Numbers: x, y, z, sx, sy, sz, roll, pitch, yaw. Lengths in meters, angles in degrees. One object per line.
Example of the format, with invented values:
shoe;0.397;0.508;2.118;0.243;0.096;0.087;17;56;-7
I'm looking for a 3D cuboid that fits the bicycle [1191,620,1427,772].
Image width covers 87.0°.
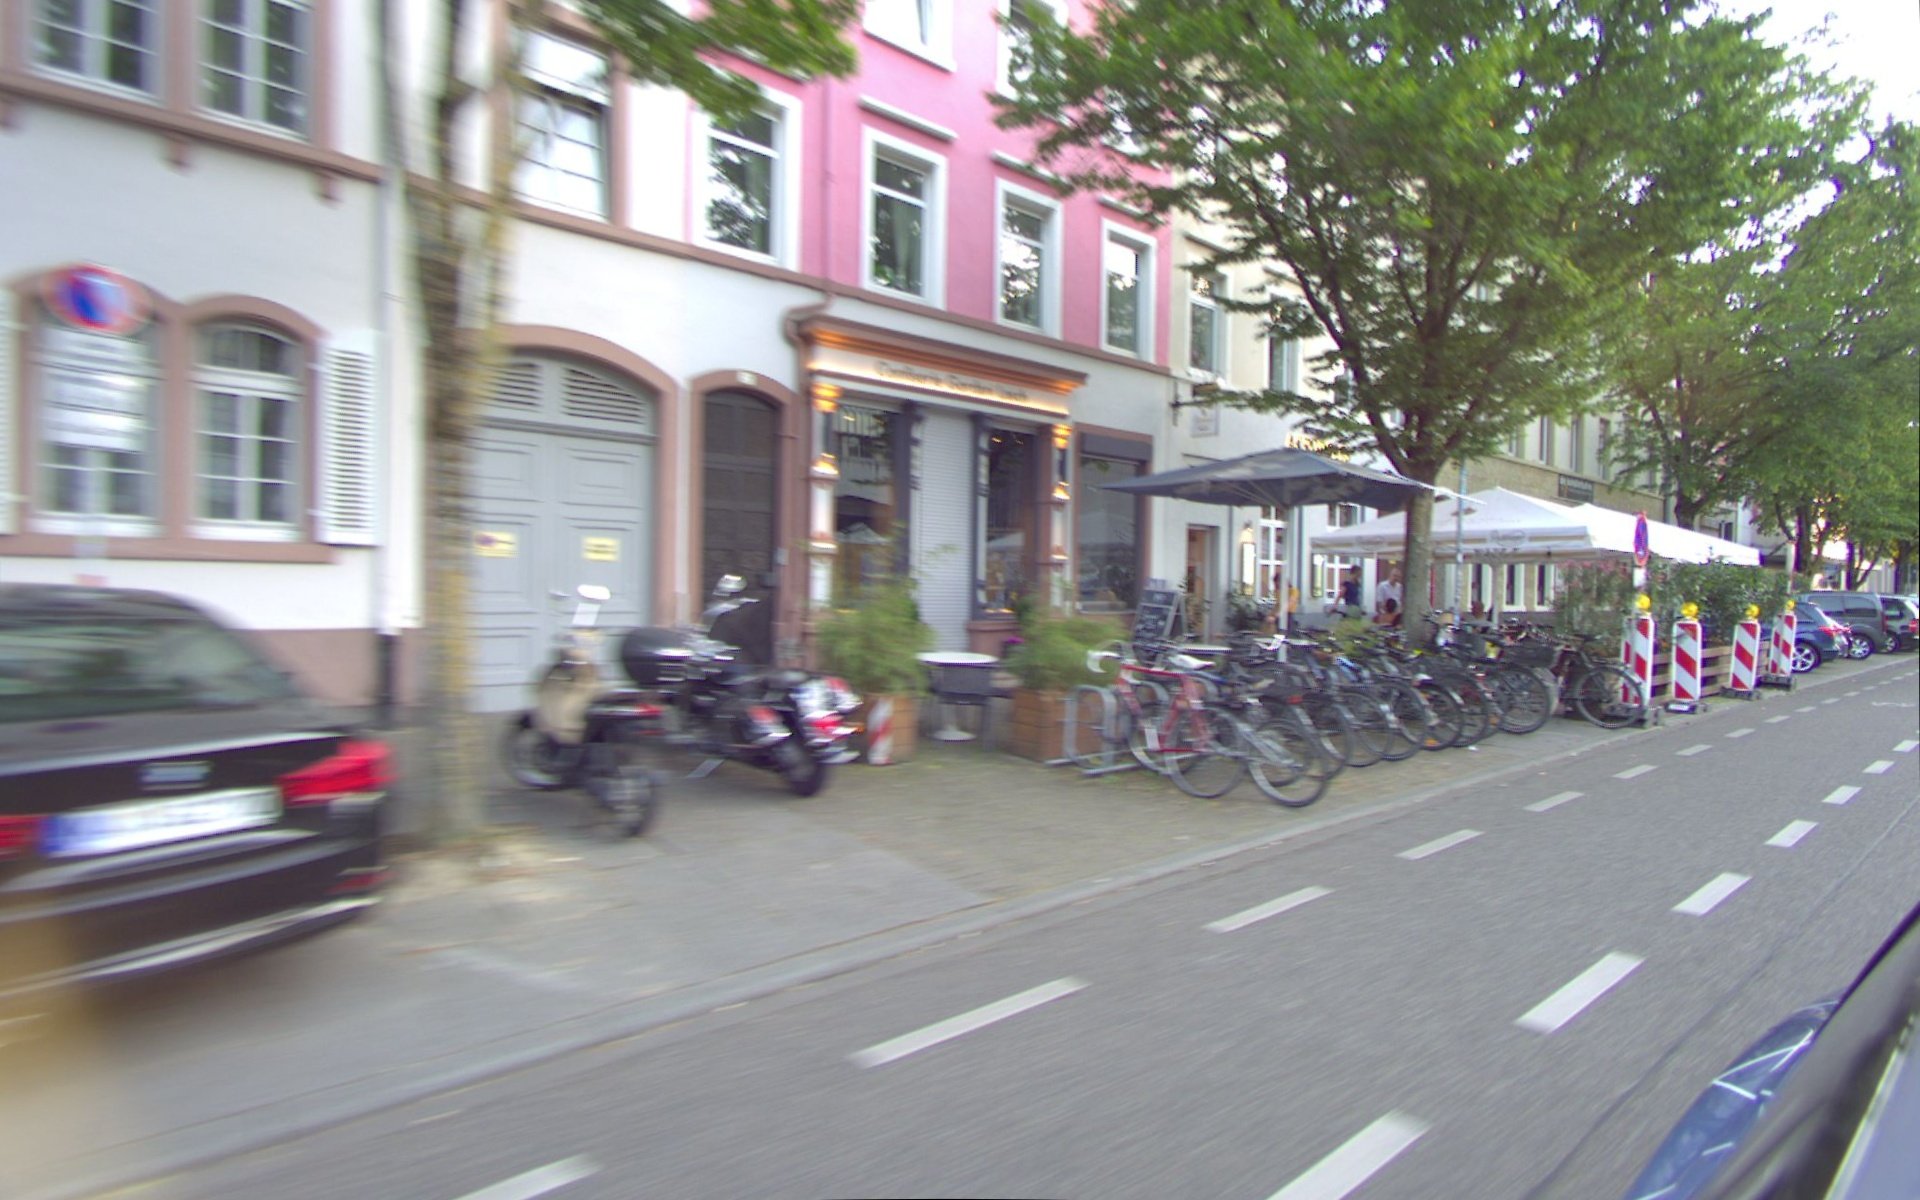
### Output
bicycle;3.046;0.790;9.005;0.598;1.044;1.890;0;4;-42

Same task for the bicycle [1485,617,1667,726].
bicycle;7.158;0.790;11.823;0.547;1.044;1.682;0;4;-42

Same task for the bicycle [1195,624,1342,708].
bicycle;3.713;0.772;12.312;0.320;0.883;1.818;0;1;-41

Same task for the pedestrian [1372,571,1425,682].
pedestrian;7.240;0.419;16.709;0.702;1.785;0.552;0;0;-40

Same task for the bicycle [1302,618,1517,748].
bicycle;4.558;0.795;10.382;0.598;1.044;1.890;0;4;-42

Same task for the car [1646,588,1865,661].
car;18.572;0.517;23.868;3.751;1.425;1.689;3;2;29

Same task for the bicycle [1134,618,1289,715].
bicycle;2.836;0.724;11.579;0.320;0.883;1.819;0;4;-42

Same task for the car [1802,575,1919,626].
car;37.422;0.023;40.827;4.943;1.849;2.183;3;2;32

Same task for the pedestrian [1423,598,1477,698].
pedestrian;6.610;0.626;13.653;0.502;1.308;0.590;0;0;45

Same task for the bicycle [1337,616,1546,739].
bicycle;5.113;0.774;10.853;0.598;1.044;1.890;0;4;-42

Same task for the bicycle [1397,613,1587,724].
bicycle;6.136;0.746;11.763;0.598;1.044;1.819;0;4;-42

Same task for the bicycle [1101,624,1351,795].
bicycle;2.060;0.800;8.066;0.581;1.044;1.866;0;4;-42

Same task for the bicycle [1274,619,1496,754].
bicycle;4.117;0.790;9.938;0.598;1.044;1.890;0;4;-42

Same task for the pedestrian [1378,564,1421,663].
pedestrian;8.099;0.244;18.665;0.696;1.785;0.710;0;0;22

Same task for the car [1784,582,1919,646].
car;27.967;0.427;30.487;4.652;1.708;1.975;5;3;45

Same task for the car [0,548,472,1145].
car;-4.070;0.579;4.100;4.143;1.444;1.803;5;3;31

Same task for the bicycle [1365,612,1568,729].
bicycle;5.607;0.737;11.301;0.598;1.044;1.890;0;4;-42

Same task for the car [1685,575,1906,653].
car;22.484;0.325;27.461;4.112;1.828;1.994;3;2;22

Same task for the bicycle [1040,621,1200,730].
bicycle;1.615;0.743;10.513;0.320;0.883;1.819;0;4;-42

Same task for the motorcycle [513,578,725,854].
motorcycle;-2.095;0.582;6.051;0.524;1.360;1.789;0;3;-42

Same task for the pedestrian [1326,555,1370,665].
pedestrian;6.541;0.161;17.040;0.548;1.785;0.843;0;0;32

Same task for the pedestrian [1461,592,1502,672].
pedestrian;8.838;0.524;17.164;0.546;1.322;0.710;0;0;22

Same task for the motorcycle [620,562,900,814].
motorcycle;-1.514;0.503;7.292;0.951;1.479;2.226;0;3;-42

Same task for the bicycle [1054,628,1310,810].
bicycle;1.615;0.824;7.684;0.524;1.044;1.907;0;4;-42

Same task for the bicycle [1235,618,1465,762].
bicycle;3.568;0.774;9.413;0.598;1.044;1.890;0;4;-42

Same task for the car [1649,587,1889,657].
car;20.239;0.501;25.550;4.270;1.406;1.795;3;2;20

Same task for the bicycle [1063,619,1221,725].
bicycle;1.893;0.729;10.784;0.320;0.883;1.819;0;4;-42

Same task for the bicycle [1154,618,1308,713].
bicycle;3.124;0.725;11.822;0.320;0.883;1.819;0;4;-42

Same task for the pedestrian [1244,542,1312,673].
pedestrian;4.502;0.097;14.326;0.878;1.785;0.551;0;0;-41

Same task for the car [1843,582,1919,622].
car;44.683;0.123;47.693;4.110;1.684;1.834;4;3;16

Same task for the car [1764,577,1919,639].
car;29.253;0.244;32.805;1.973;1.708;4.659;1;3;-41

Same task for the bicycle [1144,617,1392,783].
bicycle;2.537;0.772;8.542;0.663;1.080;1.890;0;4;-42

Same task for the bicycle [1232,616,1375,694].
bicycle;4.406;0.682;13.102;0.381;0.883;1.818;0;1;-41

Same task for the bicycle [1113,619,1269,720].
bicycle;2.535;0.738;11.317;0.320;0.883;1.819;0;4;-42

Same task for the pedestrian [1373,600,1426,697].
pedestrian;6.168;0.661;14.192;0.590;1.308;0.502;0;0;-44

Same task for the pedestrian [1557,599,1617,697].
pedestrian;8.546;0.636;13.799;0.588;1.309;0.504;0;-1;-35

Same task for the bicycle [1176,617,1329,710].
bicycle;3.443;0.722;12.068;0.320;0.883;1.819;0;4;-42

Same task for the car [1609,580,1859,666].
car;16.563;0.432;21.909;3.933;1.572;1.692;3;2;25

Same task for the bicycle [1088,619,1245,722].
bicycle;2.213;0.731;11.058;0.320;0.883;1.819;0;4;-42

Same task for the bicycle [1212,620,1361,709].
bicycle;4.015;0.768;12.579;0.320;0.883;1.819;0;4;-42

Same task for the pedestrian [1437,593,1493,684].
pedestrian;7.494;0.559;15.011;0.495;1.308;0.599;0;0;-39
